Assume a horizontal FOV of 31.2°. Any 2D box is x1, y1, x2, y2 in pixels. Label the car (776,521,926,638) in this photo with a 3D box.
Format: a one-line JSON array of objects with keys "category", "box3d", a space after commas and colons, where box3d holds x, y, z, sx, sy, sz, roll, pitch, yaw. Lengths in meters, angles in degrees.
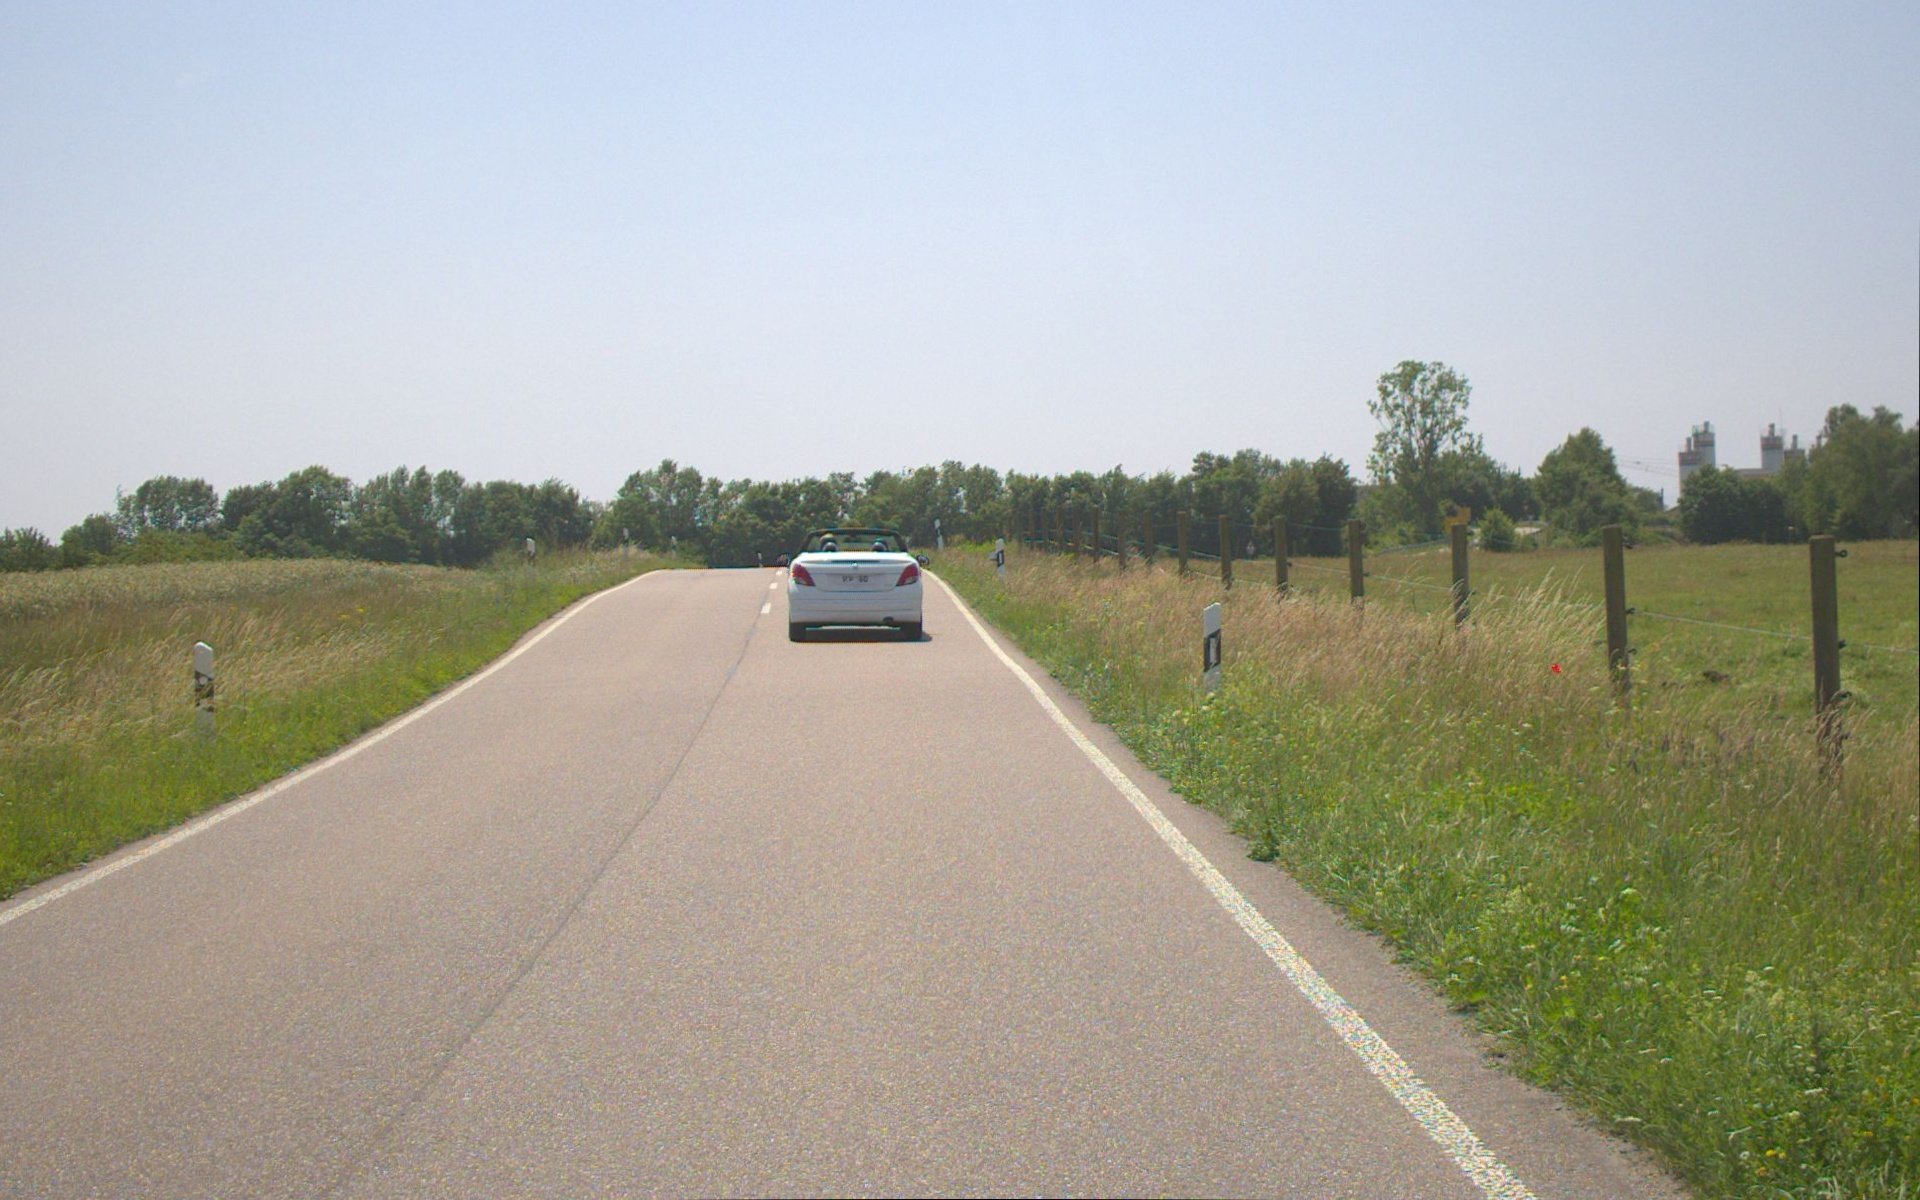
[{"category": "car", "box3d": [-1.433, -0.298, 44.457, 1.850, 1.374, 4.001, 0, 2, -3]}]
